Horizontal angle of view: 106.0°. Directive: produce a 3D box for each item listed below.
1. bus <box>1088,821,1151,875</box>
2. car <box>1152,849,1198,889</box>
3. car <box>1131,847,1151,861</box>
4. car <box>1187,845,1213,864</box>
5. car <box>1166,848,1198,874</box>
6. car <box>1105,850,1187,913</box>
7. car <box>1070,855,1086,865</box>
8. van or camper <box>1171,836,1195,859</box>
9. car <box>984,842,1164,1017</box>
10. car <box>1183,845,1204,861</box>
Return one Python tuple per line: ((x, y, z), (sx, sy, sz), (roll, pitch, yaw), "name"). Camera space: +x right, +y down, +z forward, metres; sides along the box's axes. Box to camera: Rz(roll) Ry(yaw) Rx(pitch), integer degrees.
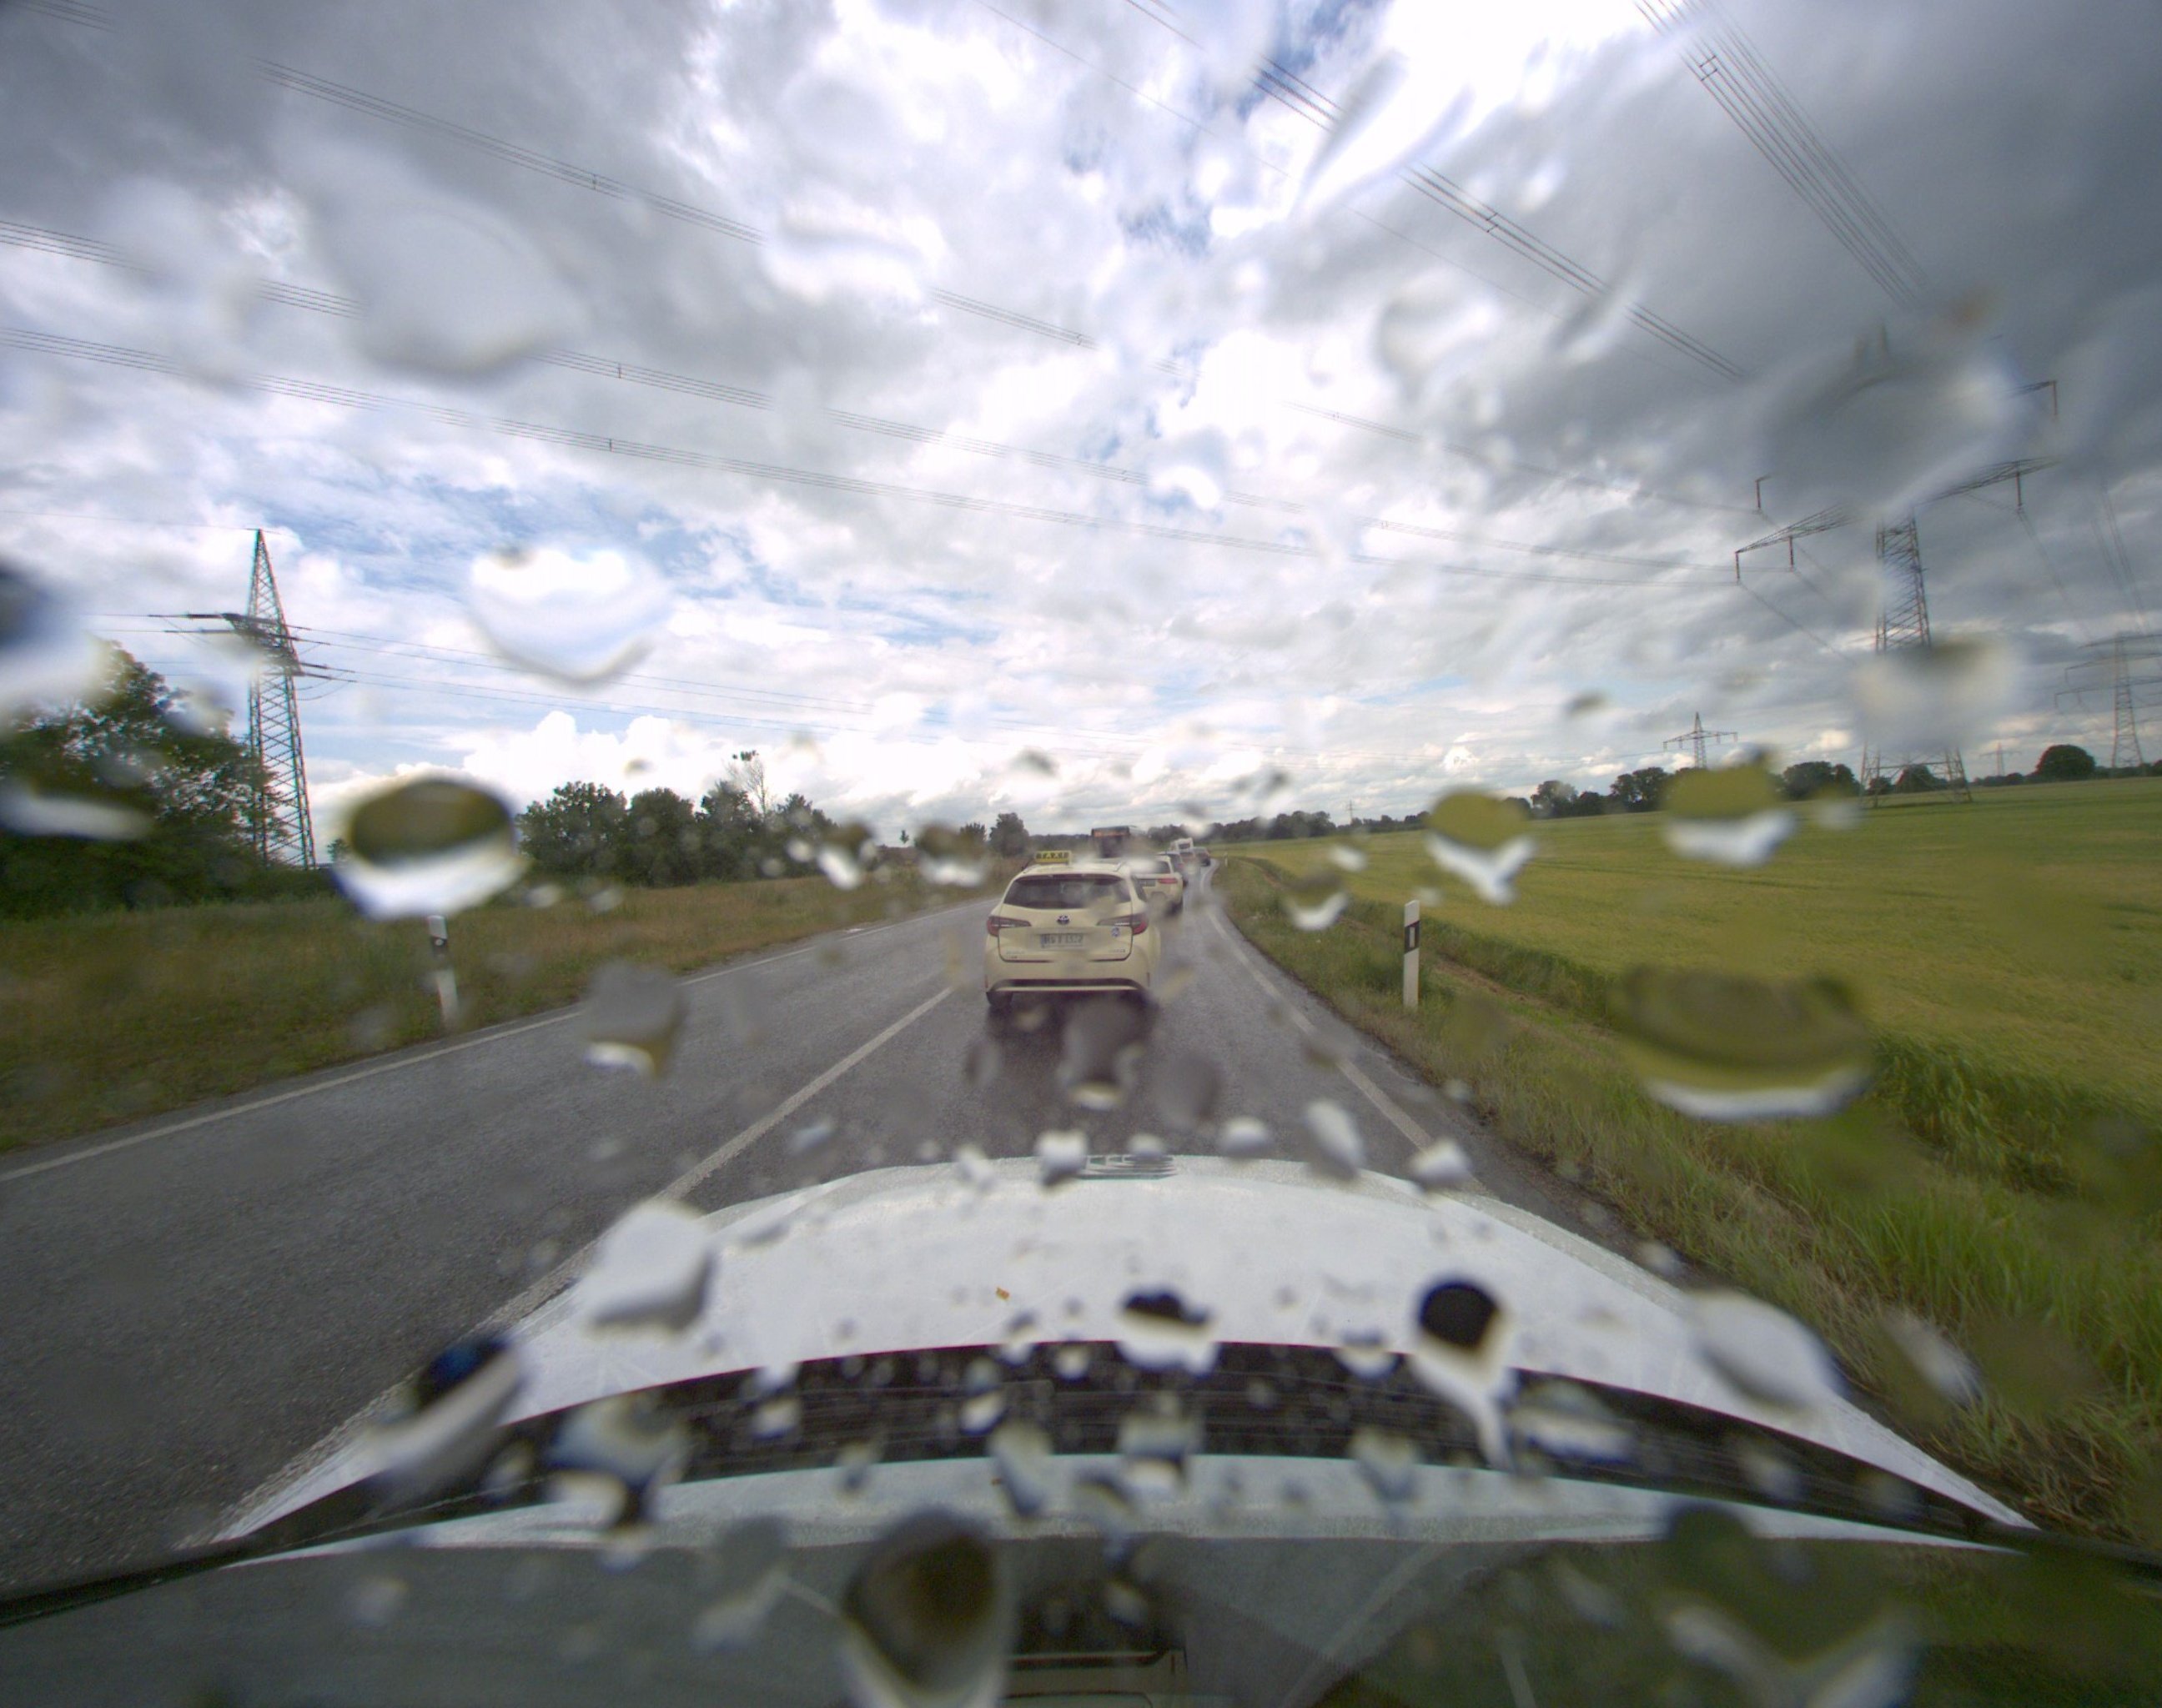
((2.884, -0.387, 56.109), (2.741, 3.298, 12.536), (-1, 0, 10), "bus")
((4.218, 0.676, 36.109), (1.602, 1.659, 3.750), (-1, -1, 12), "car")
((5.725, -0.003, 77.257), (1.710, 1.251, 4.007), (-1, -1, 6), "car")
((9.716, 0.049, 66.318), (1.948, 1.413, 4.404), (-1, -1, 10), "car")
((5.861, 0.433, 47.013), (1.602, 1.413, 3.749), (-1, -1, 10), "car")
((1.855, 0.668, 21.931), (1.830, 1.492, 4.619), (-1, 0, 9), "car")
((-0.587, 1.183, 158.961), (1.888, 1.773, 4.133), (-1, -1, -19), "car")
((13.291, -0.794, 106.577), (2.527, 2.896, 6.745), (-1, 0, 2), "van or camper")
((0.078, 0.718, 9.221), (1.605, 1.562, 3.742), (-1, -1, 4), "car")
((12.613, -0.097, 91.412), (1.952, 1.729, 3.741), (-1, -1, 3), "car")
